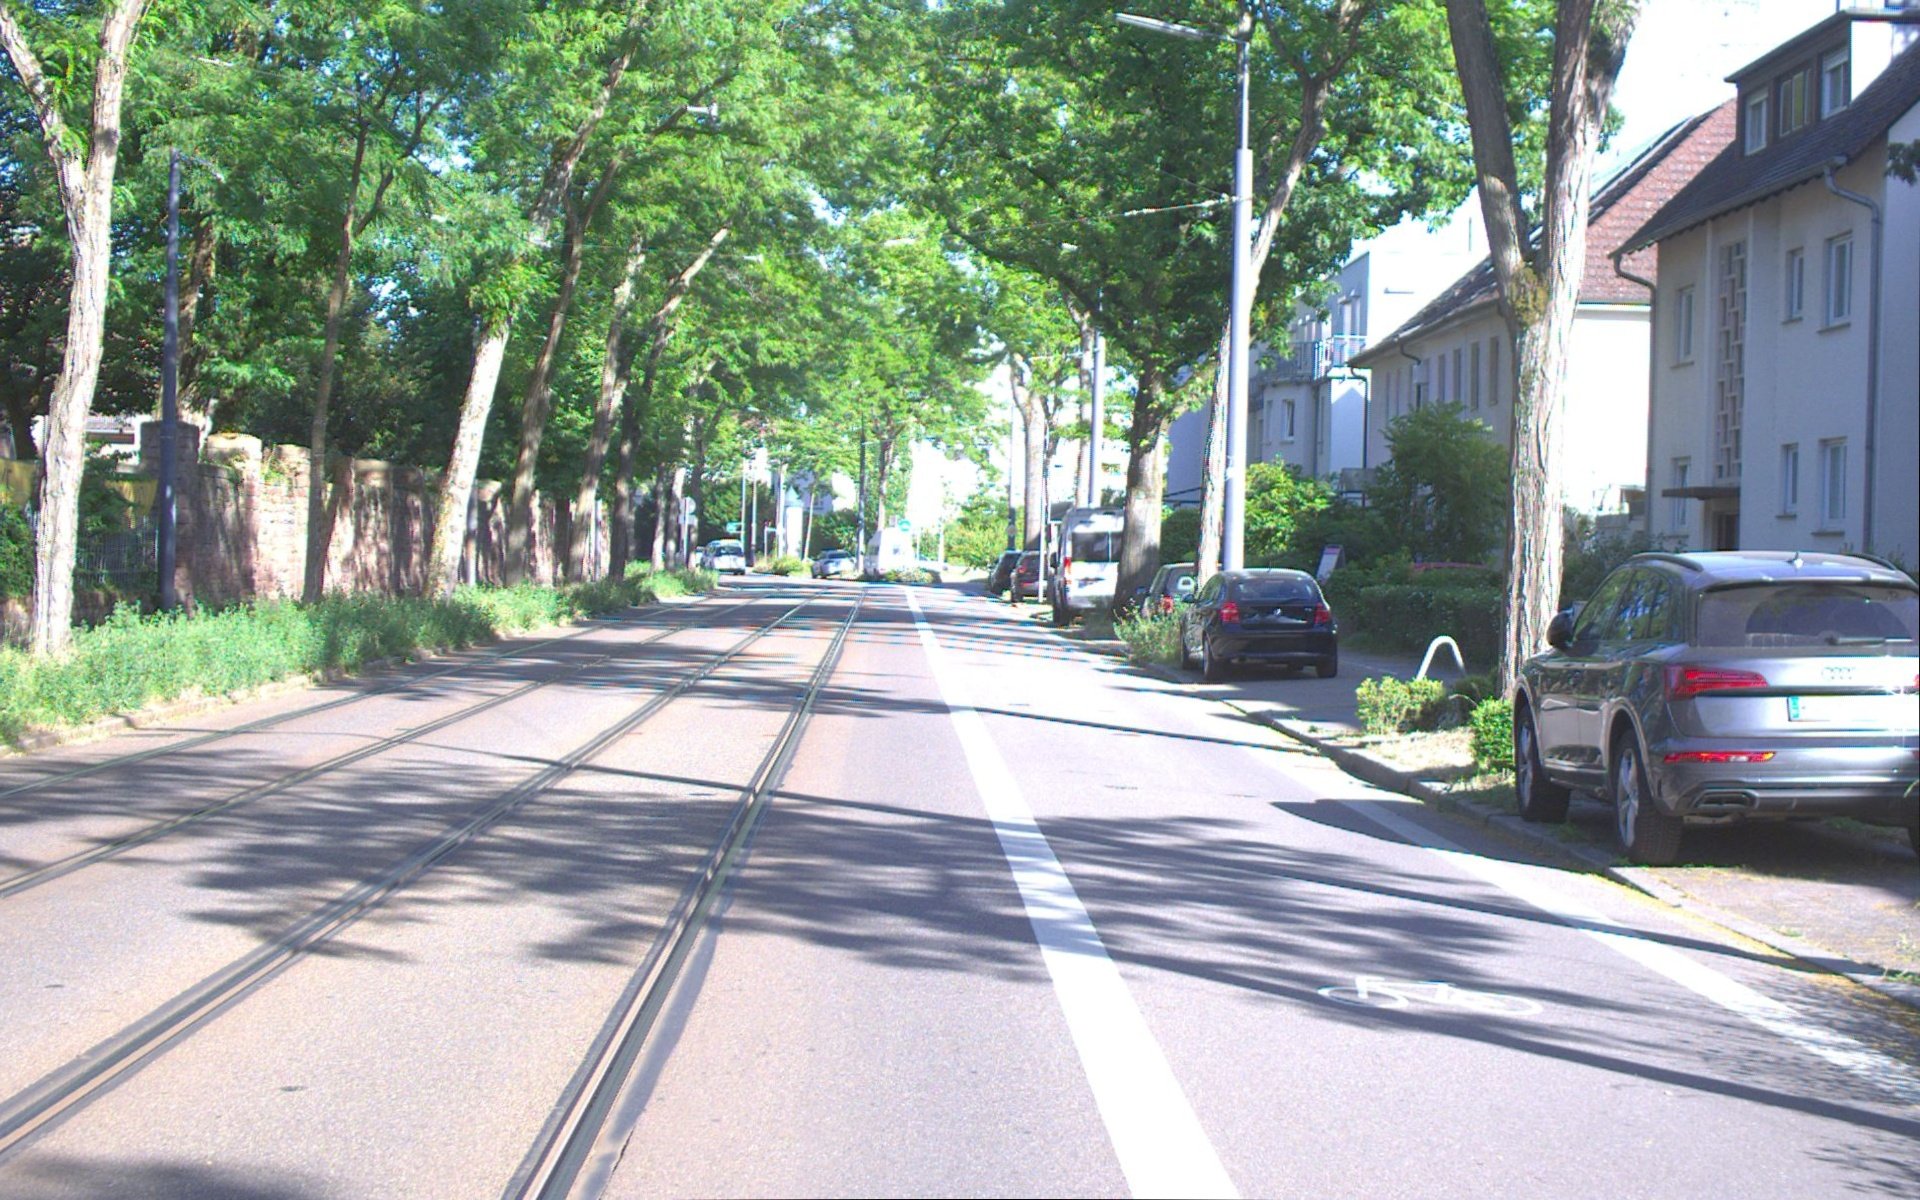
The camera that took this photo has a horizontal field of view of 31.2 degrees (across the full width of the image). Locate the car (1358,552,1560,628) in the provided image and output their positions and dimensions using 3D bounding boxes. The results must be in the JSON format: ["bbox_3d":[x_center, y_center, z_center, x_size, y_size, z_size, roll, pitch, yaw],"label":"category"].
[{"bbox_3d":[9.492,-0.206,65.488,3.396,1.431,1.735,0,1,-14],"label":"car"}]

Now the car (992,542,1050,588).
[{"bbox_3d":[2.276,-1.300,126.783,2.003,1.669,4.392,0,1,3],"label":"car"}]

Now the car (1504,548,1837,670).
[{"bbox_3d":[8.921,0.101,43.325,3.737,1.484,1.740,0,1,-6],"label":"car"}]

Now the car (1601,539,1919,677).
[{"bbox_3d":[9.725,0.067,39.435,4.421,1.484,1.858,-1,1,2],"label":"car"}]

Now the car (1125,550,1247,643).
[{"bbox_3d":[3.629,-0.087,55.642,1.627,1.393,3.646,-1,1,-1],"label":"car"}]

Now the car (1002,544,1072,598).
[{"bbox_3d":[2.423,-0.933,109.315,2.002,1.669,4.393,0,1,-1],"label":"car"}]

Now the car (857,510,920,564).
[{"bbox_3d":[-3.409,-2.986,162.635,1.993,2.449,4.510,1,1,-14],"label":"car"}]

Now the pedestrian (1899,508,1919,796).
[{"bbox_3d":[6.494,0.330,22.170,0.625,1.864,0.732,-1,1,-2],"label":"pedestrian"}]

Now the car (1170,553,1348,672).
[{"bbox_3d":[3.952,0.134,46.030,1.783,1.443,4.302,-1,1,-3],"label":"car"}]

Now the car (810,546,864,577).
[{"bbox_3d":[-6.480,-2.053,180.375,2.002,1.555,4.394,1,1,-13],"label":"car"}]

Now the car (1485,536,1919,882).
[{"bbox_3d":[4.412,0.506,19.561,1.993,1.698,4.478,-1,1,-2],"label":"car"}]

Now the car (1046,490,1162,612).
[{"bbox_3d":[3.180,-1.097,77.182,2.245,2.645,5.586,0,1,-1],"label":"car"}]

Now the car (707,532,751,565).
[{"bbox_3d":[-12.252,-2.744,181.910,1.865,1.669,4.174,1,1,-10],"label":"car"}]
